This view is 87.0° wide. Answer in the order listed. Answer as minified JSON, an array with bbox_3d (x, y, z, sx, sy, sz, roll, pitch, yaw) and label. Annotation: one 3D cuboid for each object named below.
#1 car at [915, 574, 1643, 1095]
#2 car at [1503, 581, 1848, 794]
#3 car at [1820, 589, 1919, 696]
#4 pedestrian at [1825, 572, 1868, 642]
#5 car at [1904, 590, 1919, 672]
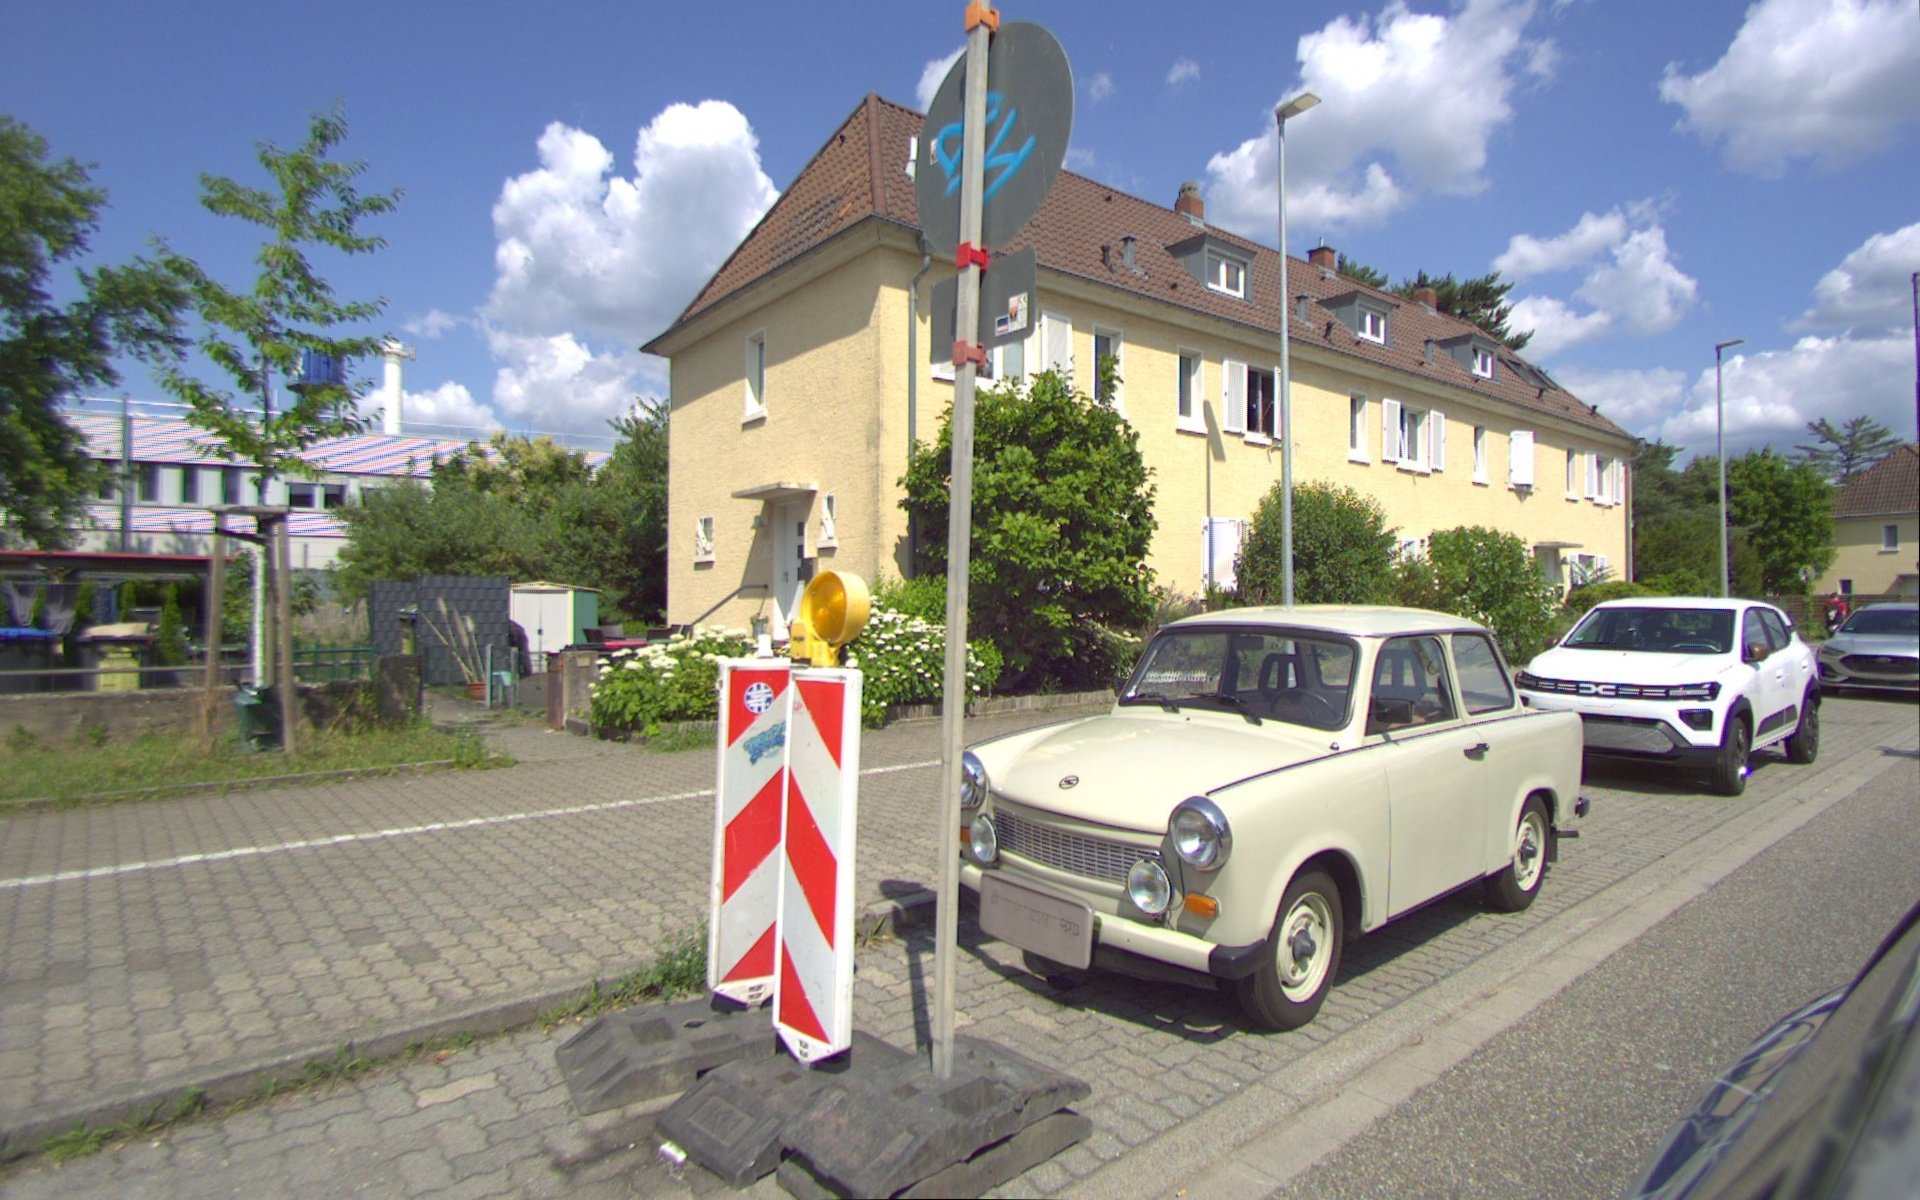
[{"bbox_3d":[1.811,0.678,4.854,4.038,1.521,1.465,0,0,-41],"label":"car"},{"bbox_3d":[6.398,0.606,8.908,3.740,1.500,1.531,0,0,-39],"label":"car"},{"bbox_3d":[15.187,0.623,15.918,4.305,1.516,1.754,1,0,-39],"label":"car"},{"bbox_3d":[26.195,0.211,29.907,0.747,2.039,0.775,1,-1,-37],"label":"pedestrian"},{"bbox_3d":[20.225,0.599,20.053,3.739,1.569,1.632,0,0,-38],"label":"car"}]
